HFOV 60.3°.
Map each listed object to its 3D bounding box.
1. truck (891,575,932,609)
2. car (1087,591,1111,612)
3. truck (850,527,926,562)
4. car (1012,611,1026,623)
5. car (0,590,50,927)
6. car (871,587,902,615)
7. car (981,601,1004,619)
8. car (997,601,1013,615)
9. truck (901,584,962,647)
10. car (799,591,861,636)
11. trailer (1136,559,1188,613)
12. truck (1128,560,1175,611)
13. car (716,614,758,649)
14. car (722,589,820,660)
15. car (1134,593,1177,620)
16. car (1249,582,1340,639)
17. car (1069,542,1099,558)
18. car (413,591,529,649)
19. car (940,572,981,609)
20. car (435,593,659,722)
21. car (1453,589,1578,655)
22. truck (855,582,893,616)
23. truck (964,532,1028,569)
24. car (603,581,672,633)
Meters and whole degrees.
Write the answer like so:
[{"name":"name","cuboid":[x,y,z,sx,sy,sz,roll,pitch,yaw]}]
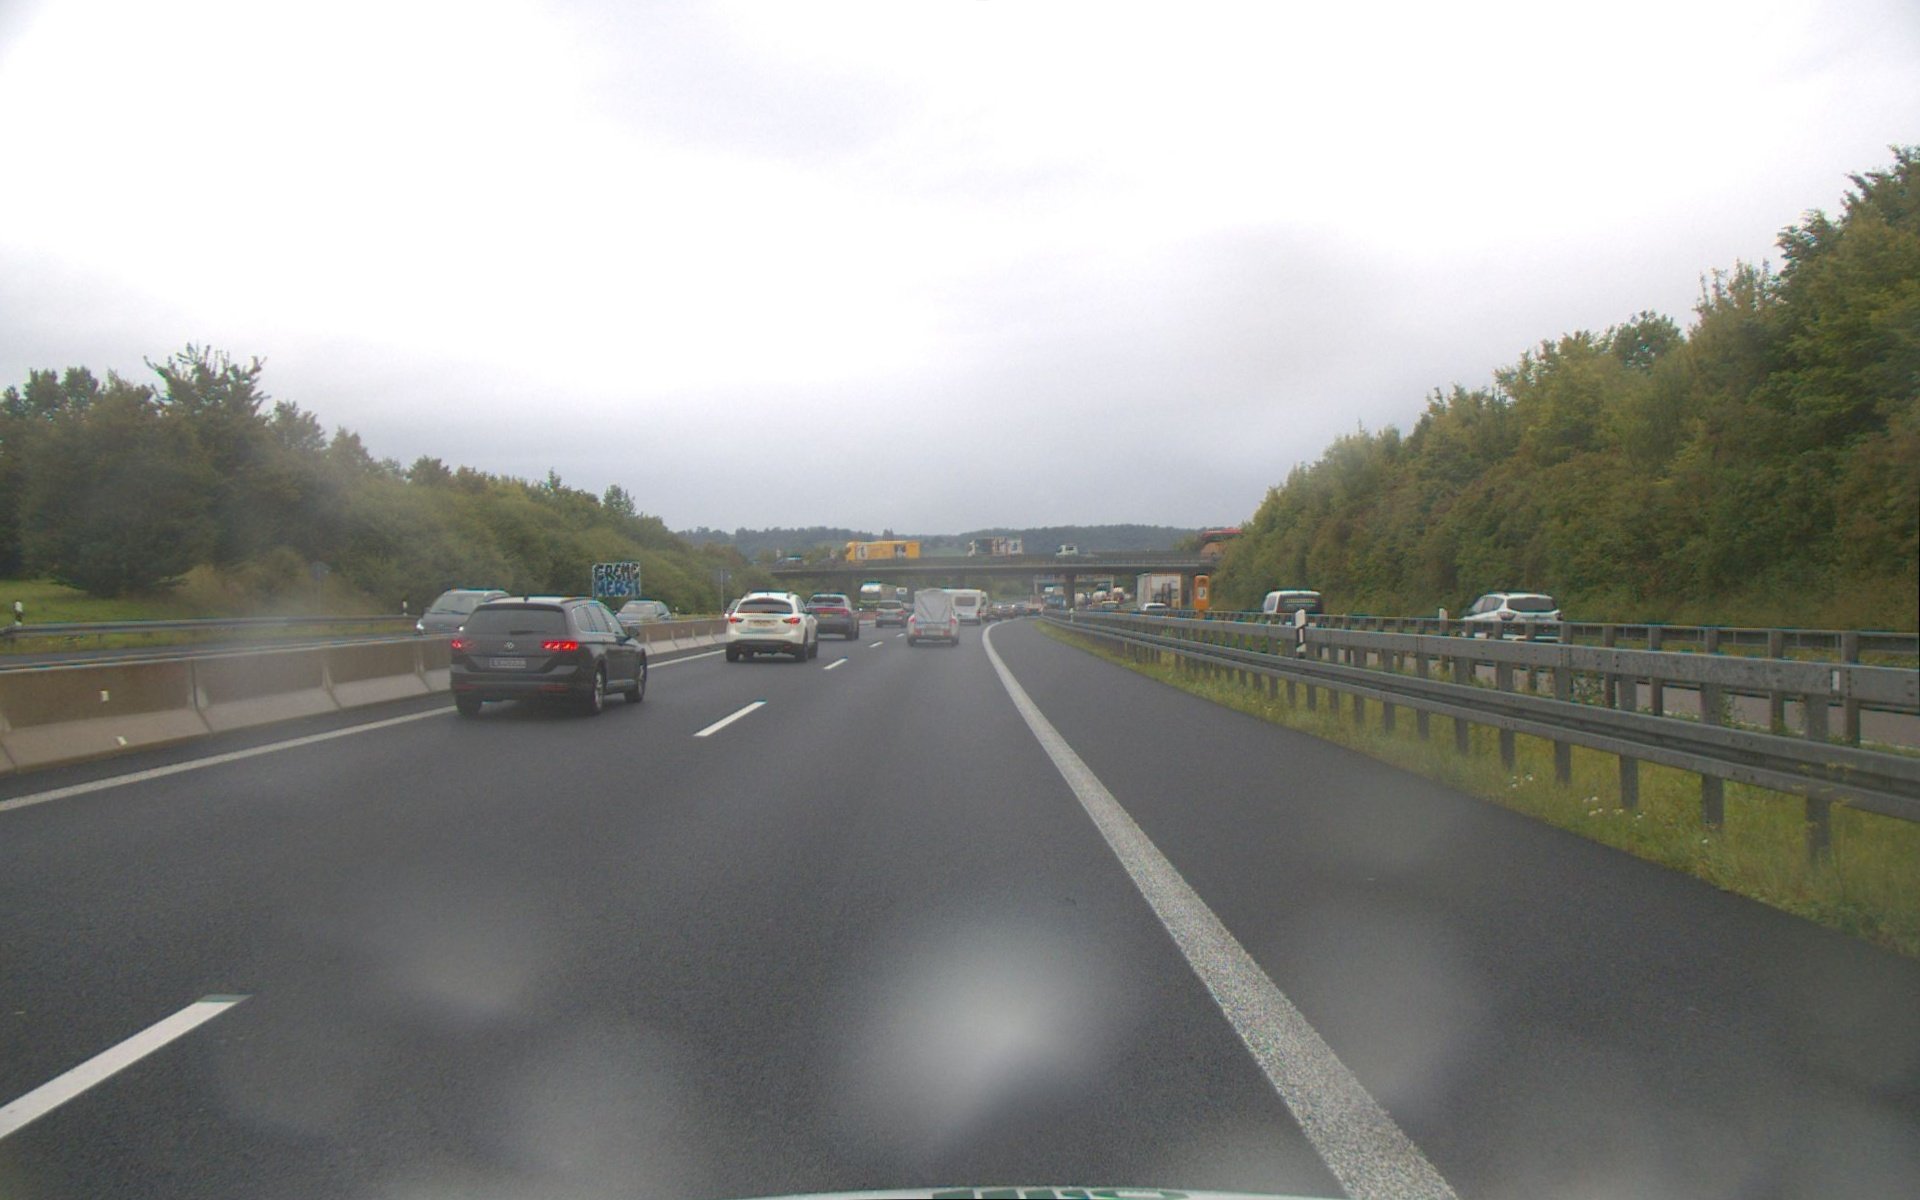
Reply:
[{"name":"truck","cuboid":[-5.199,-0.841,180.791,3.688,3.616,13.190,0,0,2]},{"name":"car","cuboid":[12.077,0.104,143.746,1.821,1.837,4.648,0,0,1]},{"name":"truck","cuboid":[-11.193,-8.535,255.817,3.740,4.920,15.035,0,0,-38]},{"name":"car","cuboid":[8.561,2.459,242.111,1.952,1.780,4.000,1,0,1]},{"name":"car","cuboid":[-4.972,0.687,5.149,1.862,1.430,4.458,0,0,-1]},{"name":"car","cuboid":[-4.413,0.034,99.453,1.862,1.641,4.015,0,0,-2]},{"name":"car","cuboid":[3.304,1.006,168.334,1.954,1.780,3.997,1,0,-4]},{"name":"car","cuboid":[5.699,1.024,210.349,1.953,1.780,4.000,1,0,0]},{"name":"truck","cuboid":[-0.981,0.481,57.495,1.978,2.020,7.212,0,0,-1]},{"name":"car","cuboid":[-4.953,0.499,63.565,2.130,1.660,4.499,0,0,-1]},{"name":"trailer","cuboid":[16.695,-1.168,137.346,3.366,4.364,10.457,0,0,2]},{"name":"truck","cuboid":[17.026,-1.292,147.790,3.366,4.364,10.420,0,0,2]},{"name":"car","cuboid":[-12.886,1.788,95.672,1.953,1.935,4.171,1,0,-2]},{"name":"car","cuboid":[-4.620,0.568,40.986,1.936,1.668,4.500,0,0,0]},{"name":"car","cuboid":[11.638,0.363,98.920,1.967,1.575,4.695,0,0,-1]},{"name":"car","cuboid":[11.089,0.332,55.078,1.968,1.846,4.273,0,0,-3]},{"name":"car","cuboid":[16.397,-6.642,219.129,1.825,1.948,3.943,1,0,-39]},{"name":"car","cuboid":[-13.643,0.522,46.439,1.942,1.532,4.637,0,0,-1]},{"name":"car","cuboid":[0.068,-0.707,122.451,2.954,2.662,6.075,0,0,1]},{"name":"car","cuboid":[-5.334,0.695,22.031,1.862,1.523,4.850,0,0,-1]},{"name":"car","cuboid":[14.502,0.546,43.417,1.858,1.641,4.145,0,0,-1]},{"name":"truck","cuboid":[-10.751,-0.122,207.589,3.688,4.062,13.190,0,0,2]},{"name":"truck","cuboid":[5.049,-6.925,233.676,3.741,4.920,9.906,0,0,-38]},{"name":"car","cuboid":[-12.445,0.262,64.125,1.953,1.935,4.171,1,0,-2]}]
